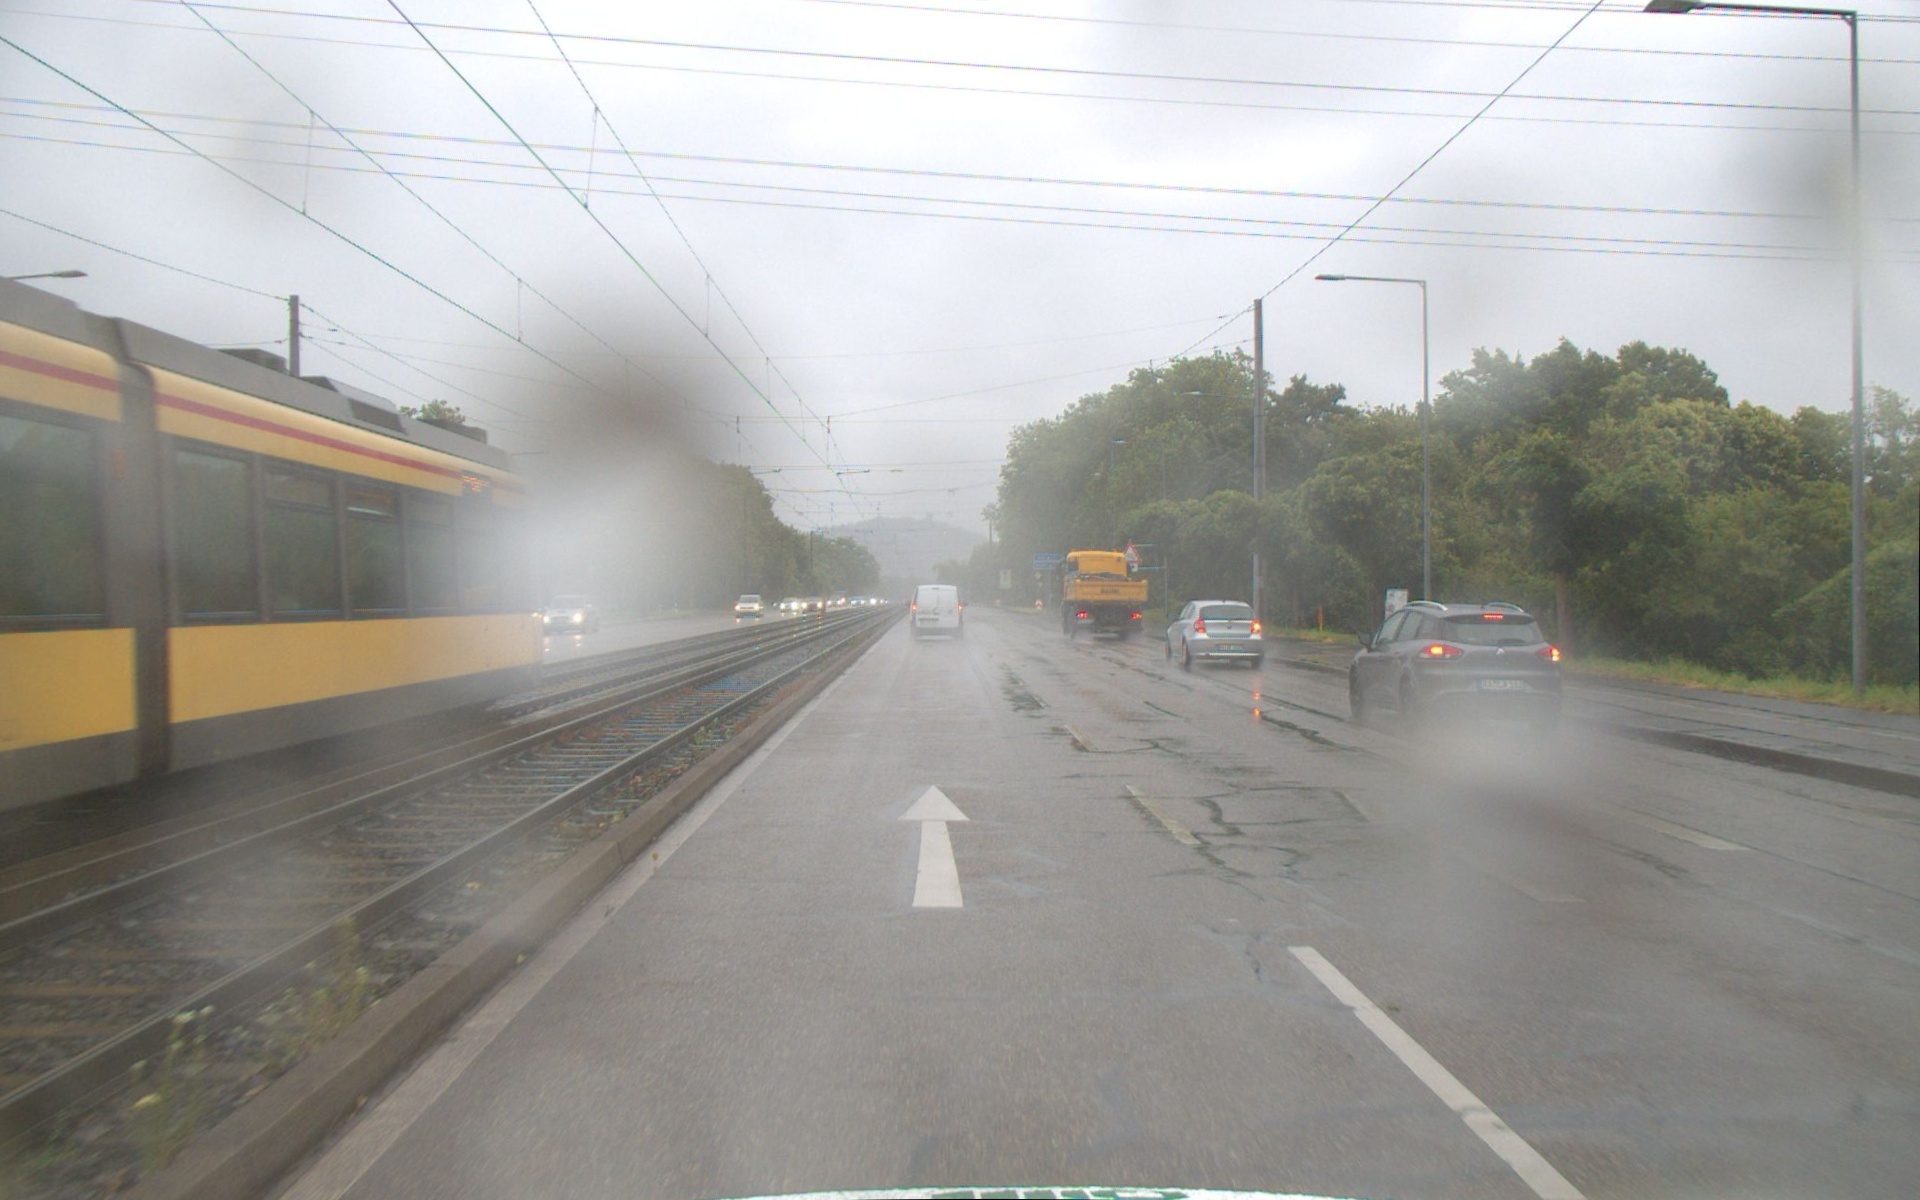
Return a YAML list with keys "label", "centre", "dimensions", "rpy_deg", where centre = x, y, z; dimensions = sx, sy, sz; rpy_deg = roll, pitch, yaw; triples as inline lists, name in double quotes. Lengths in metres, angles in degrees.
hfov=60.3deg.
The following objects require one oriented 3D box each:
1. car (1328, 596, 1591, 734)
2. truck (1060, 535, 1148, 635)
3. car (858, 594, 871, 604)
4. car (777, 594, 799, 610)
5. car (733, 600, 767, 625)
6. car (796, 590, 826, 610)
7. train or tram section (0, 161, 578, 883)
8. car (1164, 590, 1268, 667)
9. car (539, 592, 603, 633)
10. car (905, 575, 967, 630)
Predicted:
- label: "car"
  centre: [5.821, 0.690, 19.832]
  dimensions: [1.849, 1.380, 4.277]
  rpy_deg: [1, 1, 0]
- label: "truck"
  centre: [5.049, -0.558, 58.871]
  dimensions: [2.503, 3.314, 6.933]
  rpy_deg: [1, 1, 0]
- label: "car"
  centre: [-13.611, -0.162, 236.194]
  dimensions: [1.706, 1.377, 4.545]
  rpy_deg: [1, 1, -1]
- label: "car"
  centre: [-16.587, 0.149, 159.518]
  dimensions: [1.722, 1.386, 5.070]
  rpy_deg: [1, 1, -1]
- label: "car"
  centre: [-14.883, 0.874, 117.406]
  dimensions: [1.805, 1.601, 5.065]
  rpy_deg: [1, 1, -1]
- label: "car"
  centre: [-12.900, -0.010, 143.329]
  dimensions: [1.952, 1.489, 5.252]
  rpy_deg: [-3, 1, 2]
- label: "train or tram section"
  centre: [-6.542, -0.509, 13.343]
  dimensions: [2.827, 3.770, 19.525]
  rpy_deg: [1, 1, -1]
- label: "car"
  centre: [5.581, 0.575, 36.508]
  dimensions: [1.593, 1.529, 4.607]
  rpy_deg: [1, 1, 0]
- label: "car"
  centre: [-17.416, 0.541, 74.223]
  dimensions: [1.788, 1.663, 5.135]
  rpy_deg: [1, 1, -2]
- label: "car"
  centre: [-0.740, 0.044, 54.262]
  dimensions: [1.948, 1.713, 3.740]
  rpy_deg: [1, 1, 0]
